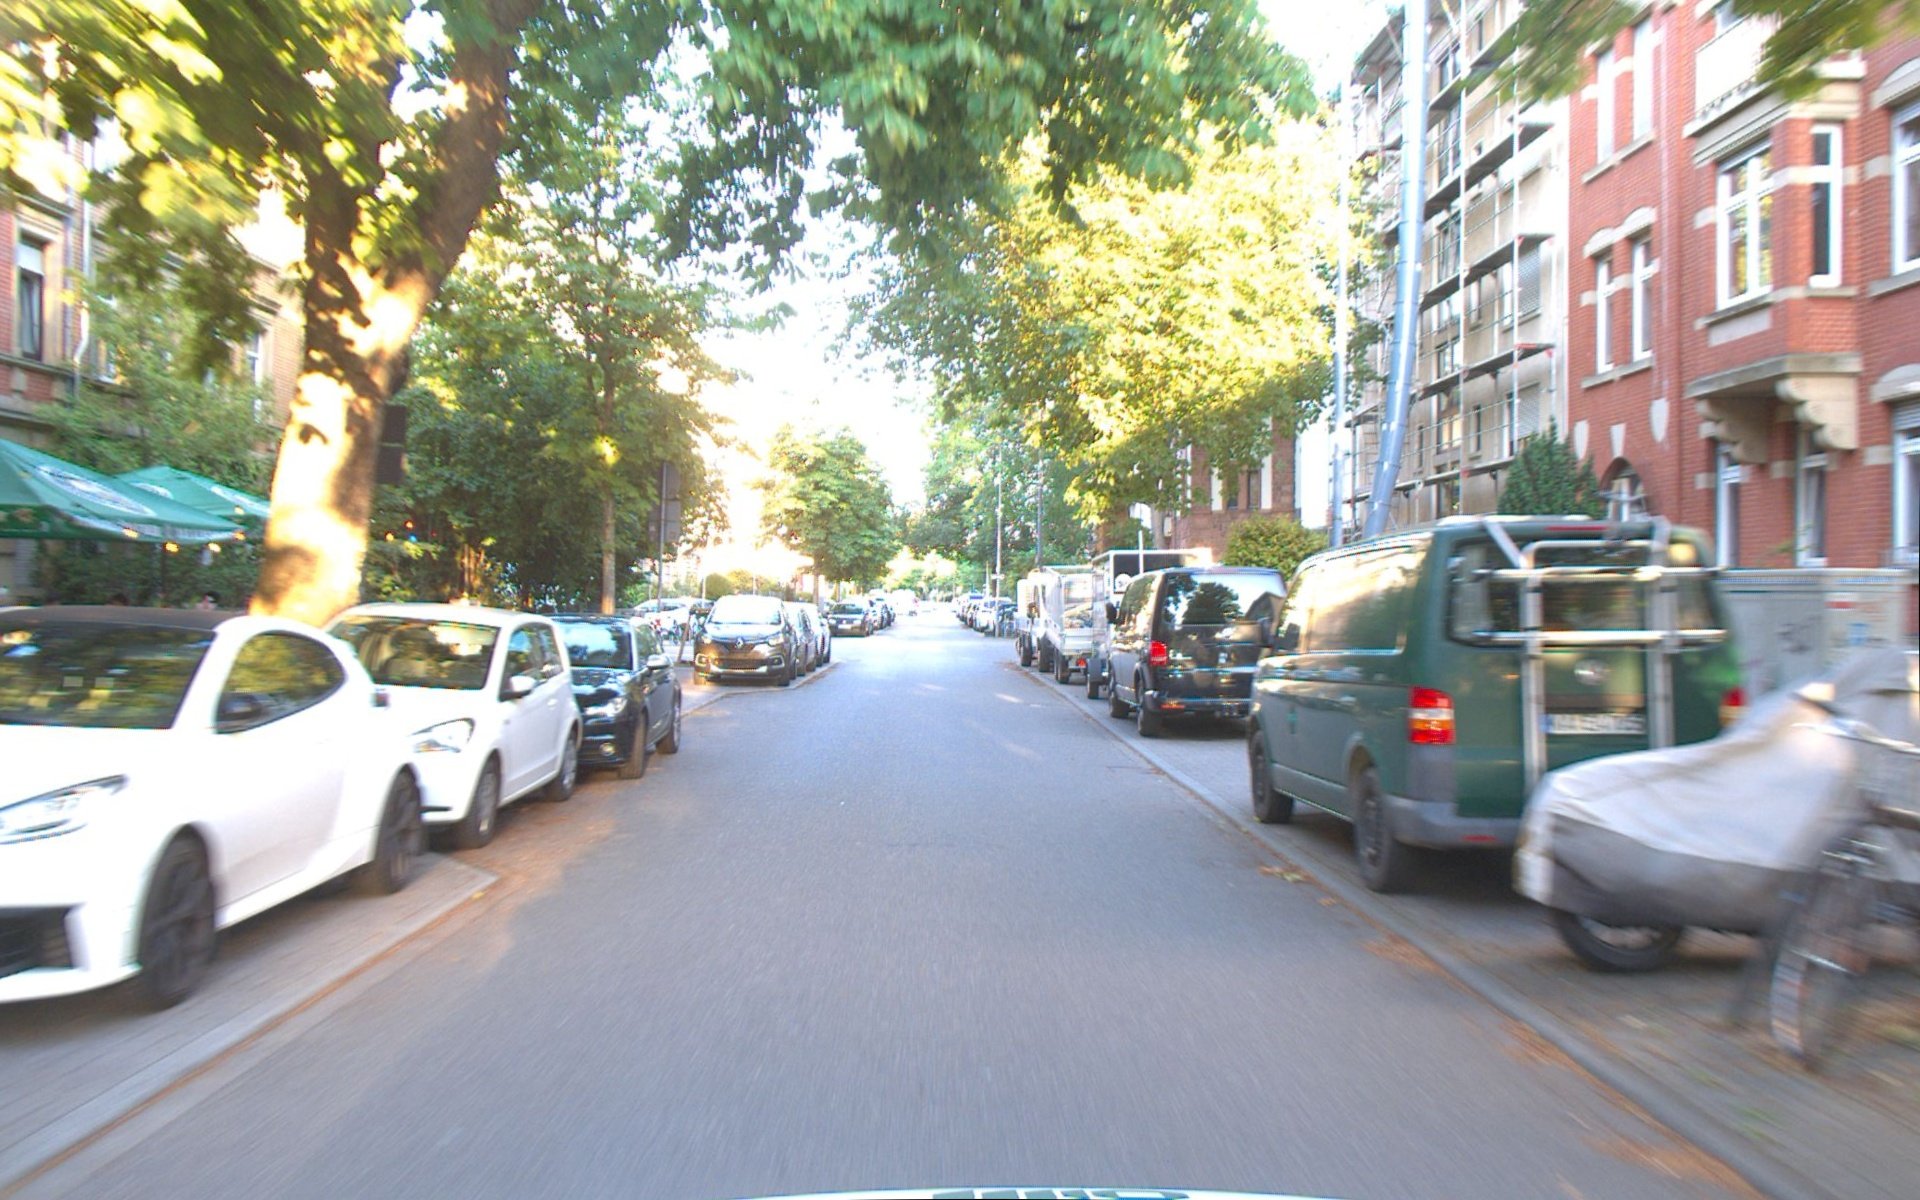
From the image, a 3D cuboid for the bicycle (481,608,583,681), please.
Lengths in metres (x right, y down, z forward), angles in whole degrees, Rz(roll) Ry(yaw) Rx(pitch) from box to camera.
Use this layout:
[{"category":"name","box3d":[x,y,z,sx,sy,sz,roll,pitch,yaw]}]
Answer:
[{"category":"bicycle","box3d":[-8.070,0.815,31.316,0.593,1.307,2.486,0,0,19]}]

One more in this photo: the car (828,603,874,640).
[{"category":"car","box3d":[-4.628,0.903,70.842,1.583,1.496,3.962,1,0,1]}]

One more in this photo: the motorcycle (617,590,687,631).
[{"category":"motorcycle","box3d":[-12.755,0.443,68.528,2.791,1.667,0.675,0,0,7]}]

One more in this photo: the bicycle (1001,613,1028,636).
[{"category":"bicycle","box3d":[2.399,1.077,72.991,1.210,0.968,0.327,0,1,-29]}]

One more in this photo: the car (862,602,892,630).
[{"category":"car","box3d":[-4.957,0.951,98.840,1.681,1.594,3.787,1,0,-1]}]

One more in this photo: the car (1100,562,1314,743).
[{"category":"car","box3d":[2.986,0.569,20.974,1.802,1.976,4.612,-2,1,-2]}]

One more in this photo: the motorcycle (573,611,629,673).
[{"category":"motorcycle","box3d":[-7.733,0.874,35.741,0.570,1.176,2.891,3,1,-1]}]

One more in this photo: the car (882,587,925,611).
[{"category":"car","box3d":[-5.742,-0.121,168.376,4.263,2.359,1.744,1,0,-3]}]

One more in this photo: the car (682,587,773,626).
[{"category":"car","box3d":[-10.951,0.296,78.117,4.011,1.554,1.708,4,0,-3]}]

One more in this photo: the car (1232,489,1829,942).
[{"category":"car","box3d":[3.135,0.522,10.331,1.914,2.094,4.829,-2,1,-1]}]

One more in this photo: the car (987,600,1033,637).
[{"category":"car","box3d":[2.269,0.838,75.845,1.654,1.620,3.655,0,0,-5]}]

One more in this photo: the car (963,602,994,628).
[{"category":"car","box3d":[1.061,0.855,97.499,1.653,1.466,4.208,-1,0,-1]}]

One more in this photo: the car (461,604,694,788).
[{"category":"car","box3d":[-3.532,0.813,15.856,1.520,1.511,3.692,0,0,-3]}]

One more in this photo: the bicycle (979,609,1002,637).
[{"category":"bicycle","box3d":[1.364,1.006,73.191,0.434,1.193,1.635,0,0,23]}]

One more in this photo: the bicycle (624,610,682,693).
[{"category":"bicycle","box3d":[-5.113,0.835,27.632,0.472,1.277,1.900,4,0,1]}]

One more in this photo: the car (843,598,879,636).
[{"category":"car","box3d":[-4.577,0.762,75.852,1.564,1.631,3.741,1,0,-4]}]

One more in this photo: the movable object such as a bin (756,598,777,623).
[{"category":"movable object such as a bin","box3d":[-10.982,0.595,93.808,0.991,1.344,1.005,3,0,4]}]

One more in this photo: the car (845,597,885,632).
[{"category":"car","box3d":[-4.990,0.725,87.196,1.882,1.747,4.426,1,0,-1]}]

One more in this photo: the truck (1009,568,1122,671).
[{"category":"truck","box3d":[2.428,0.459,39.798,1.938,2.284,6.772,0,-1,-3]}]

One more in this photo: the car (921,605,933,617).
[{"category":"car","box3d":[-4.725,1.569,237.013,1.776,1.624,3.482,1,0,-1]}]

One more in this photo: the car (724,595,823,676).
[{"category":"car","box3d":[-3.975,0.753,35.859,1.656,1.528,4.401,4,-1,-1]}]

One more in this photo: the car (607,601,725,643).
[{"category":"car","box3d":[-11.126,0.825,62.749,4.005,1.472,1.819,1,1,9]}]

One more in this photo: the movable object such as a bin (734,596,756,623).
[{"category":"movable object such as a bin","box3d":[-12.190,0.541,93.613,1.078,1.439,1.001,3,0,-15]}]

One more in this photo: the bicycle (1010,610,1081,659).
[{"category":"bicycle","box3d":[2.355,0.939,45.361,1.866,1.280,0.406,-2,0,-7]}]

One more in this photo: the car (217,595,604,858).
[{"category":"car","box3d":[-3.722,0.762,11.861,1.520,1.511,3.693,3,0,-1]}]

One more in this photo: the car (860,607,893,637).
[{"category":"car","box3d":[-4.594,1.235,91.009,1.681,1.594,3.780,1,-1,-1]}]

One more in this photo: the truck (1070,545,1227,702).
[{"category":"truck","box3d":[2.993,0.325,27.230,1.914,2.285,4.644,-2,1,-1]}]

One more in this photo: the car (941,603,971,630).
[{"category":"car","box3d":[-0.255,1.036,105.139,1.653,1.634,3.937,1,-1,-4]}]

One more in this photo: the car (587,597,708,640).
[{"category":"car","box3d":[-11.451,0.664,60.776,4.005,1.472,1.710,1,1,8]}]

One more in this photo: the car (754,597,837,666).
[{"category":"car","box3d":[-4.042,0.732,41.240,1.656,1.528,4.736,3,0,-2]}]

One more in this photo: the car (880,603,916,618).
[{"category":"car","box3d":[-6.253,1.039,165.614,3.548,1.487,1.605,1,0,-5]}]

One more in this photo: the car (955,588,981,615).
[{"category":"car","box3d":[0.590,0.125,125.940,1.647,1.975,3.877,1,-1,-4]}]

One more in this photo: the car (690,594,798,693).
[{"category":"car","box3d":[-3.926,0.745,30.645,1.656,1.591,4.398,3,0,-4]}]

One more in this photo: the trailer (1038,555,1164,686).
[{"category":"trailer","box3d":[2.706,0.374,32.718,1.914,2.335,4.643,-2,0,-1]}]

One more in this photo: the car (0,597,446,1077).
[{"category":"car","box3d":[-3.663,0.763,7.277,1.571,1.460,3.885,3,0,-1]}]

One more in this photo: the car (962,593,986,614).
[{"category":"car","box3d":[1.048,0.280,121.954,1.508,1.548,3.429,1,-1,-4]}]

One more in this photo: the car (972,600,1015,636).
[{"category":"car","box3d":[1.654,0.903,82.318,1.762,1.741,4.597,0,0,-4]}]
